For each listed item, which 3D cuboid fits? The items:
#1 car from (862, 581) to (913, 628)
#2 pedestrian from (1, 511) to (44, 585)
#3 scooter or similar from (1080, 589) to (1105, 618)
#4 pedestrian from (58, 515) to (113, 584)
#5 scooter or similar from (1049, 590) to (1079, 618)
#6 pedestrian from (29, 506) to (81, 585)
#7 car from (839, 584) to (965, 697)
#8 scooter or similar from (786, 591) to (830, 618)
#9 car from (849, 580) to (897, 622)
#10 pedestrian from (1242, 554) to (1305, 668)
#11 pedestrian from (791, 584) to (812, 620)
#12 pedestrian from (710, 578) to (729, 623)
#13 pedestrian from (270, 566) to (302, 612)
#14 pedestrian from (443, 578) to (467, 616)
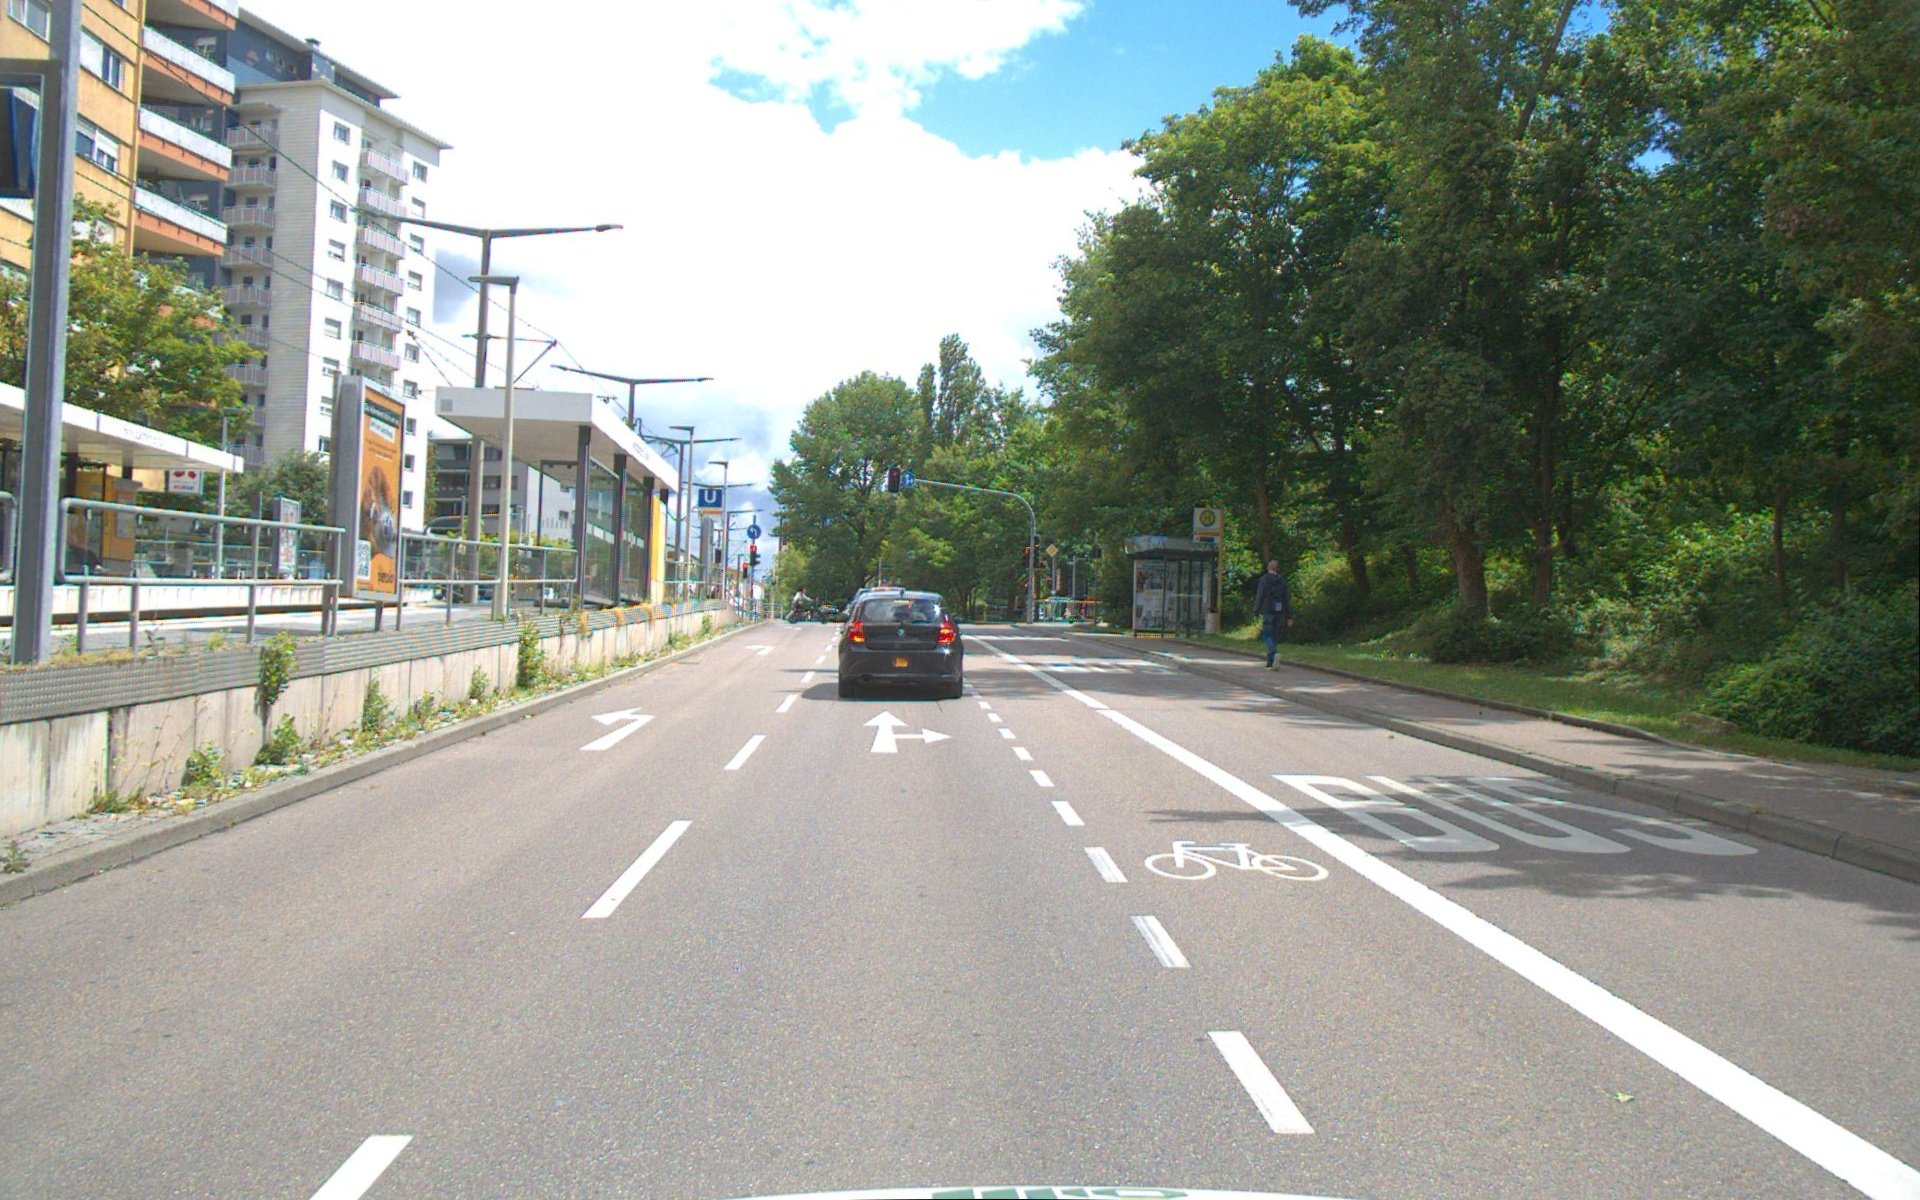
[{"bbox_3d":[-2.309,0.126,52.843,1.563,1.443,3.515,1,0,-2],"label":"car"},{"bbox_3d":[-16.177,-0.885,28.554,0.511,1.258,0.541,1,0,-15],"label":"pedestrian"},{"bbox_3d":[5.911,0.166,73.747,1.088,1.280,0.330,1,0,-15],"label":"scooter or similar"},{"bbox_3d":[-16.121,-0.925,30.497,0.727,1.258,0.517,1,0,-3],"label":"pedestrian"},{"bbox_3d":[4.581,0.167,72.906,1.268,1.210,0.382,1,0,-19],"label":"scooter or similar"},{"bbox_3d":[-16.207,-0.971,29.624,0.630,1.393,0.506,1,0,-3],"label":"pedestrian"},{"bbox_3d":[-0.791,0.513,23.263,1.621,1.443,3.516,1,0,-1],"label":"car"},{"bbox_3d":[-6.202,0.198,67.598,1.749,1.069,0.409,1,0,-12],"label":"scooter or similar"},{"bbox_3d":[-3.176,0.020,59.858,1.622,1.443,3.514,1,0,-5],"label":"car"},{"bbox_3d":[5.506,0.185,29.113,0.785,1.928,1.270,2,0,-2],"label":"pedestrian"},{"bbox_3d":[-6.540,0.091,68.078,0.848,1.468,0.797,1,0,-7],"label":"pedestrian"},{"bbox_3d":[-8.901,0.032,61.230,0.687,1.661,0.637,0,0,-5],"label":"pedestrian"},{"bbox_3d":[-25.265,-0.417,62.025,0.839,1.726,0.690,1,0,11],"label":"pedestrian"},{"bbox_3d":[-18.307,-0.102,59.920,0.656,1.366,0.552,1,0,39],"label":"pedestrian"}]
